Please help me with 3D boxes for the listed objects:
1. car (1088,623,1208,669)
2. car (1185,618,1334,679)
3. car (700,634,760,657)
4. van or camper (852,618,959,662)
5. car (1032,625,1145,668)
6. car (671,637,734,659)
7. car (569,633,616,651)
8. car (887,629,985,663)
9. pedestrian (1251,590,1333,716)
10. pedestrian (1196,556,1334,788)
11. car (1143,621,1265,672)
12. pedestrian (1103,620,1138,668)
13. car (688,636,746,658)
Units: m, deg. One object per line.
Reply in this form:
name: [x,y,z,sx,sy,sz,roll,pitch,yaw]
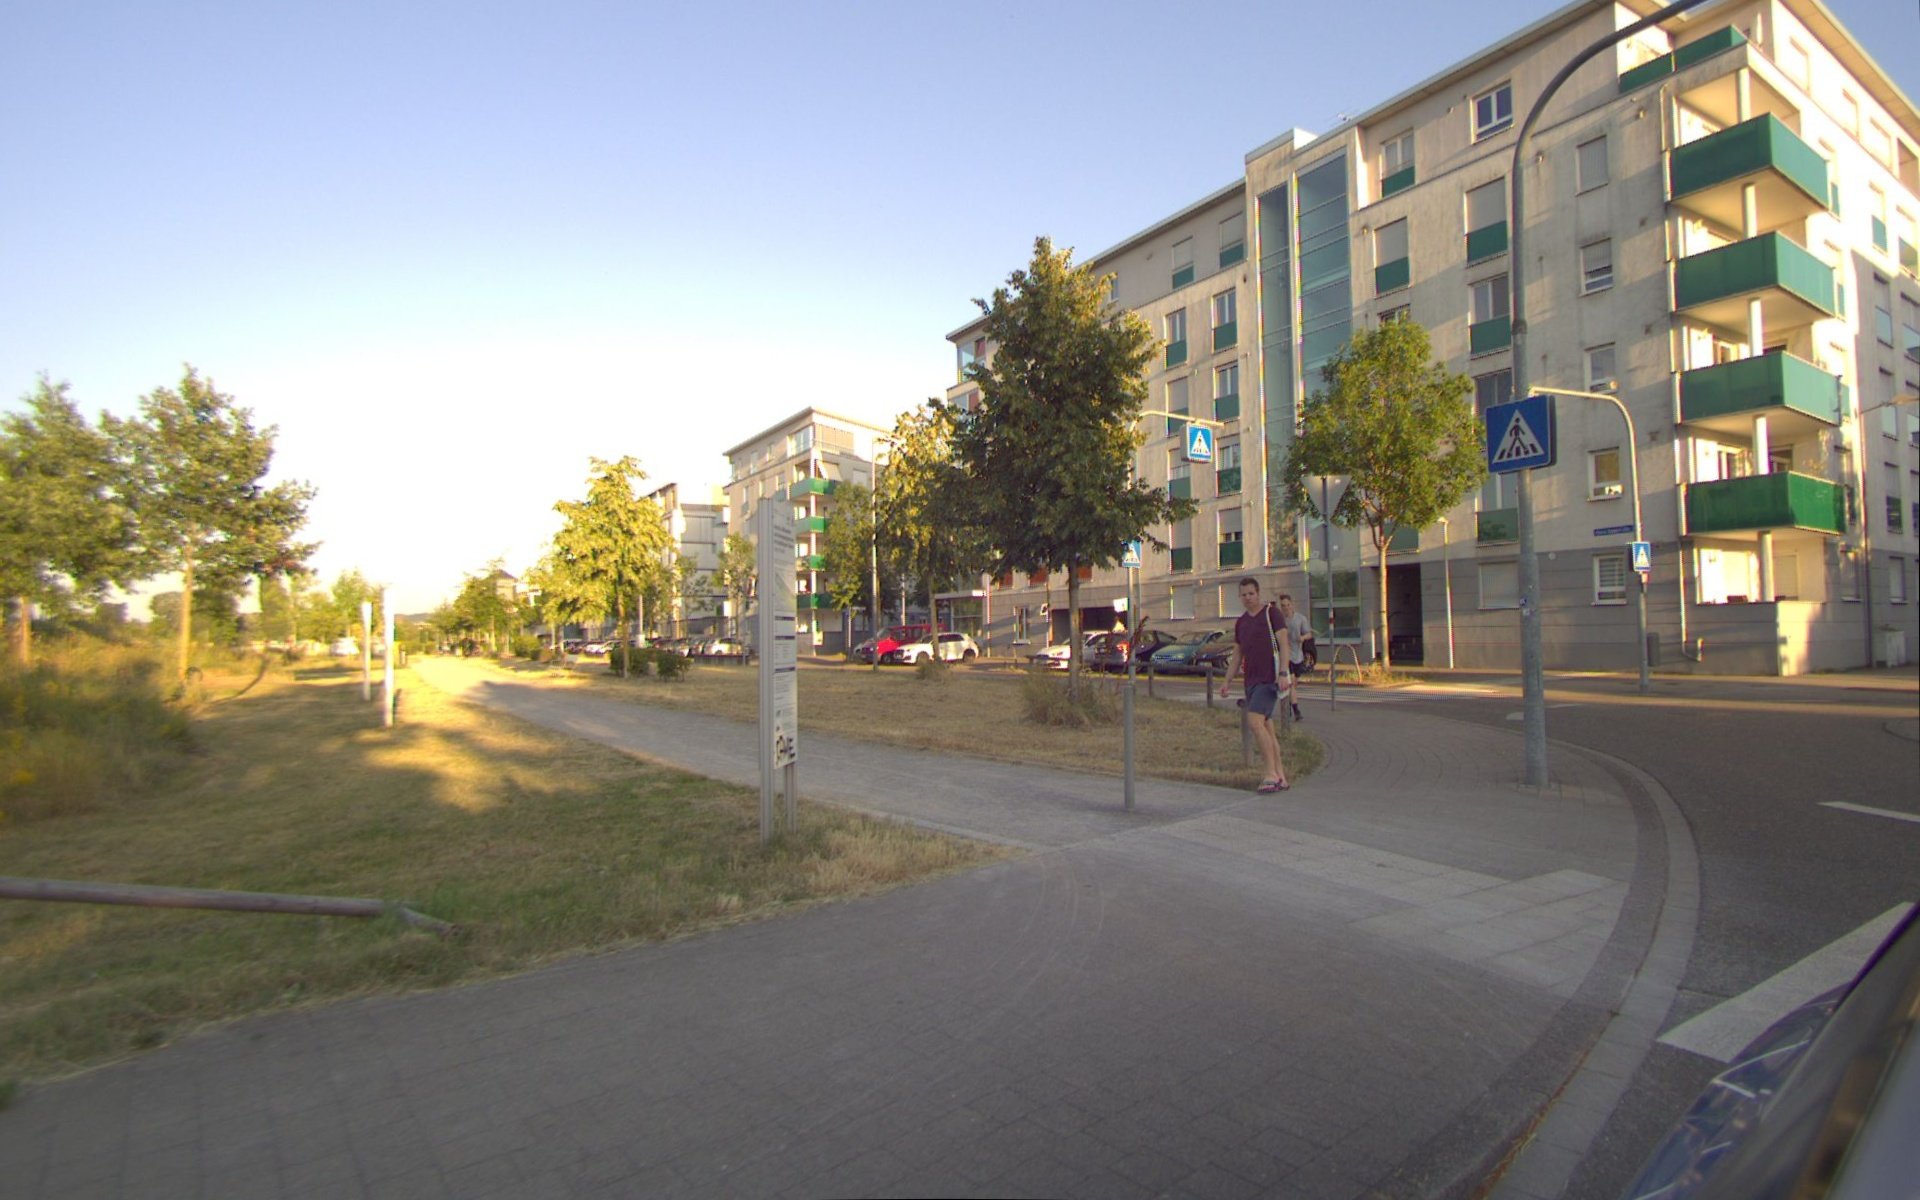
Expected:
car: [6.542,1.578,35.104,3.977,1.499,1.701,1,-3,-33]
car: [9.013,1.419,30.360,4.395,1.506,1.833,-2,-1,-33]
car: [-16.875,3.328,74.248,3.880,1.613,1.778,1,-3,-35]
van or camper: [-2.675,1.971,50.243,5.032,2.087,1.877,1,-3,-34]
car: [4.740,1.678,37.157,3.977,1.499,1.701,1,-3,-33]
car: [-19.953,3.698,78.378,4.328,1.613,1.951,1,-3,-35]
car: [-39.123,4.432,107.819,4.329,1.863,1.951,1,-3,-36]
car: [-1.104,2.128,47.648,4.379,1.541,1.701,1,-3,-33]
pedestrian: [4.809,0.759,14.697,0.751,1.752,0.803,1,-3,-27]
pedestrian: [2.534,0.580,8.440,0.786,1.808,0.734,1,-3,-33]
car: [8.009,1.501,33.076,3.929,1.391,1.559,-2,-1,-33]
pedestrian: [6.628,1.810,41.775,0.960,1.919,1.050,1,-3,-31]
car: [-18.305,3.522,76.336,3.880,1.613,1.778,1,-3,-35]
